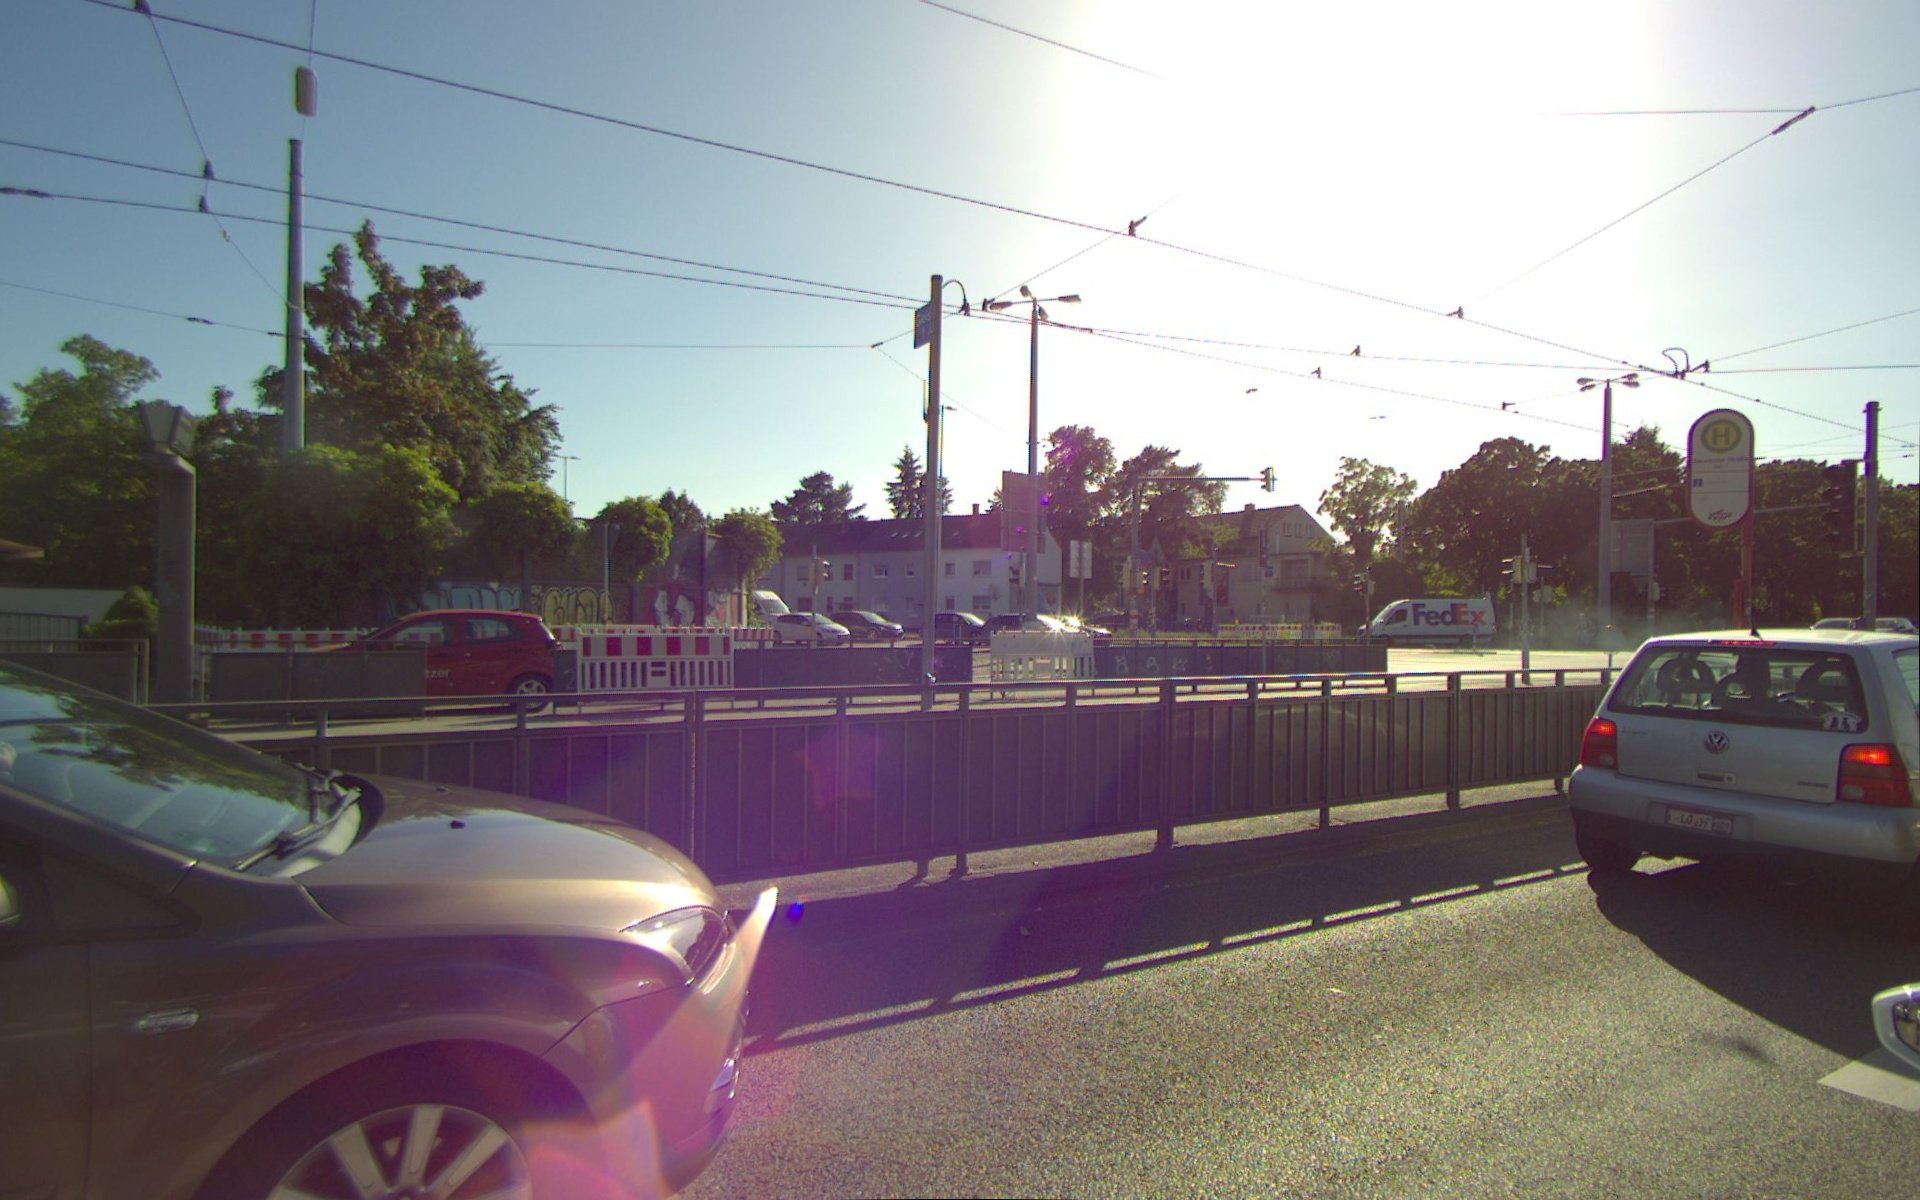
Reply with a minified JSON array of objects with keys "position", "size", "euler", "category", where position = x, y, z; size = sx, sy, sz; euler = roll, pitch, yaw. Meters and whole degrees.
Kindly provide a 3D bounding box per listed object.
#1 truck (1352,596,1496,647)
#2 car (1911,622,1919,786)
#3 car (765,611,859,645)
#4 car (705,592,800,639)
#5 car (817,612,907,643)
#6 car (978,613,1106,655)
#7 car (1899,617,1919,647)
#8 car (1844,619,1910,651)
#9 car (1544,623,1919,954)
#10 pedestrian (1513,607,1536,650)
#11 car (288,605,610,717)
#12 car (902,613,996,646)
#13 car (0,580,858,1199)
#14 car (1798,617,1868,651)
[{"position":[24.434,1.135,53.072],"size":[6.686,2.599,2.001],"euler":[1,-1,2],"category":"truck"},{"position":[10.767,0.998,9.446],"size":[4.038,1.476,1.611],"euler":[2,0,-31],"category":"car"},{"position":[-6.779,1.253,45.948],"size":[4.104,1.451,1.846],"euler":[0,-1,34],"category":"car"},{"position":[-11.173,0.820,53.910],"size":[4.995,2.434,2.132],"euler":[0,-1,34],"category":"car"},{"position":[-4.775,1.329,48.891],"size":[4.212,1.451,1.788],"euler":[0,-1,34],"category":"car"},{"position":[3.166,1.282,39.207],"size":[4.754,1.517,1.781],"euler":[0,-1,34],"category":"car"},{"position":[54.264,1.792,56.056],"size":[4.712,1.626,1.978],"euler":[1,1,-38],"category":"car"},{"position":[47.306,1.774,51.789],"size":[4.245,1.568,1.819],"euler":[1,-1,-37],"category":"car"},{"position":[5.196,0.885,5.959],"size":[3.312,1.436,1.611],"euler":[2,-2,-31],"category":"car"},{"position":[26.836,1.352,47.768],"size":[0.785,2.040,0.741],"euler":[1,-1,-42],"category":"pedestrian"},{"position":[-7.365,0.822,14.648],"size":[3.979,1.421,1.593],"euler":[1,-1,-37],"category":"car"},{"position":[-0.534,1.318,45.807],"size":[4.104,1.451,1.589],"euler":[0,-1,34],"category":"car"},{"position":[-2.506,0.703,1.876],"size":[4.284,1.469,1.766],"euler":[1,-1,-31],"category":"car"},{"position":[42.422,1.650,48.800],"size":[3.963,1.568,1.819],"euler":[1,-1,-37],"category":"car"}]
